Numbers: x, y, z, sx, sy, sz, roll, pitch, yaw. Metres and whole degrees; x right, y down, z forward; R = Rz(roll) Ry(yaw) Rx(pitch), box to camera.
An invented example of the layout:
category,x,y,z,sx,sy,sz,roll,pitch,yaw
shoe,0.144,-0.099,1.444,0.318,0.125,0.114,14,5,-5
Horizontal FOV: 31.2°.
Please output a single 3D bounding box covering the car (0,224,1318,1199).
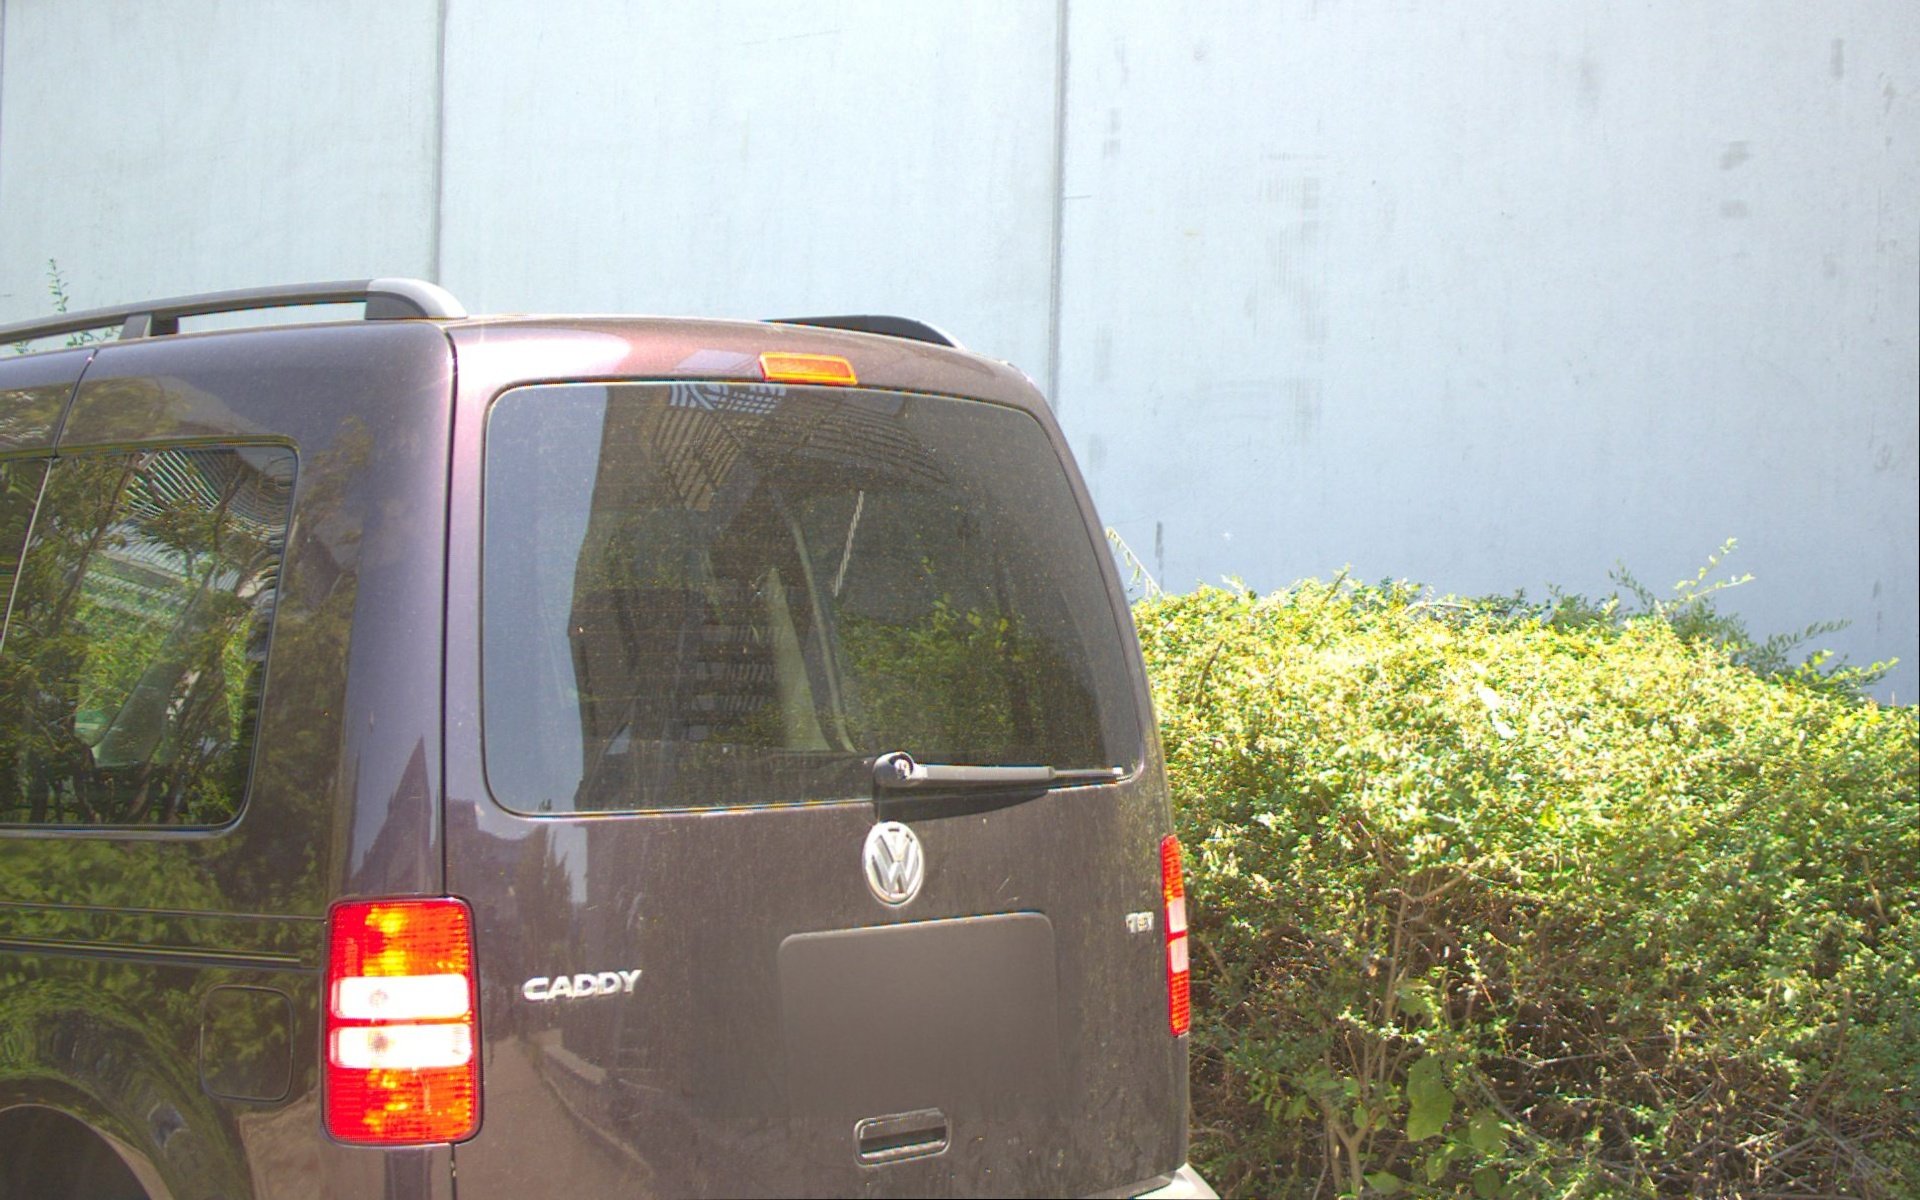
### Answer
category,x,y,z,sx,sy,sz,roll,pitch,yaw
car,-1.519,0.479,5.936,4.069,1.877,1.674,1,1,44
